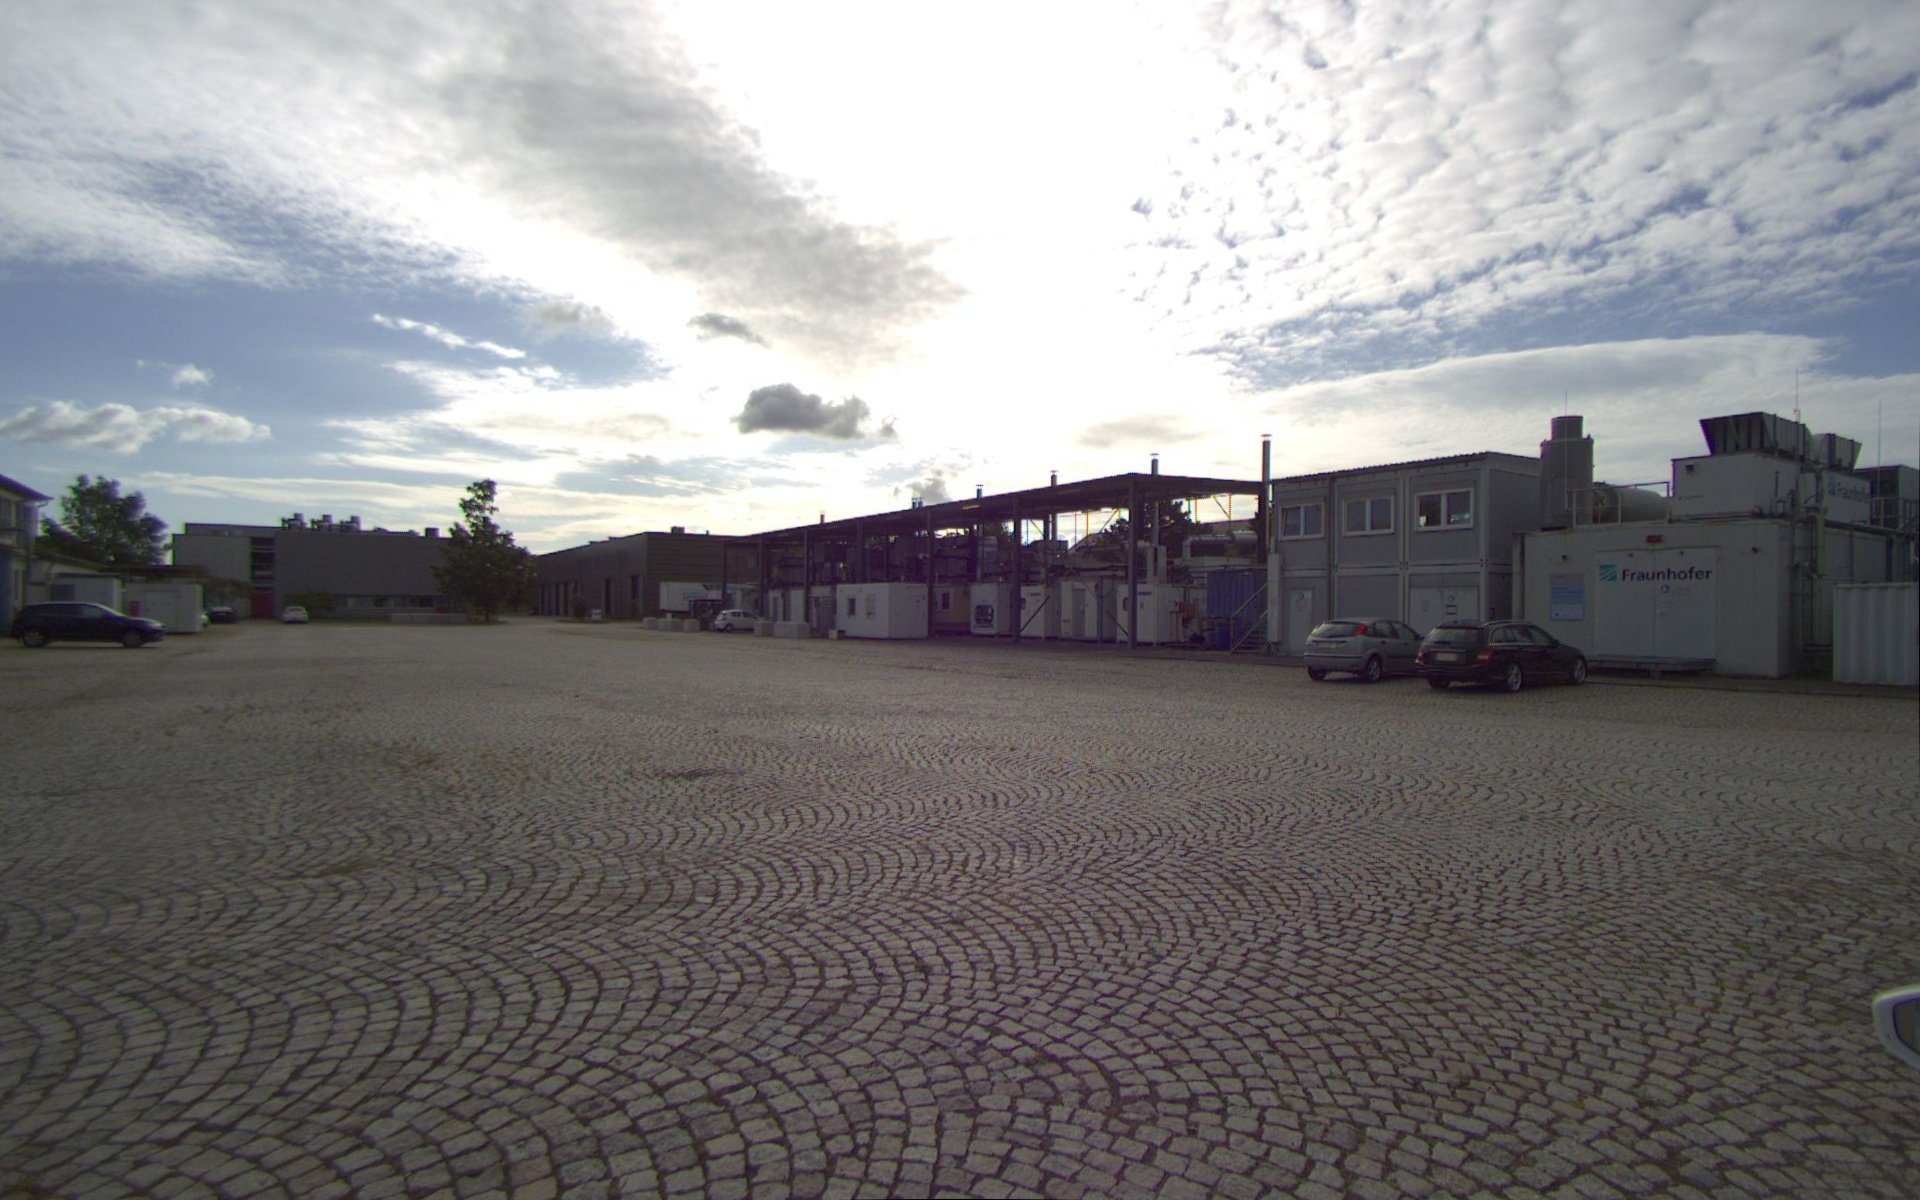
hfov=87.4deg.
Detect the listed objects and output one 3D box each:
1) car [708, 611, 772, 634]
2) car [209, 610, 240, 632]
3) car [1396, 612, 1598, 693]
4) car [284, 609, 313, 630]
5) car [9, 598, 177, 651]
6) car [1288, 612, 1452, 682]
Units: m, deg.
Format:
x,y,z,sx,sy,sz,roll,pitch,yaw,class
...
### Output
x,y,z,sx,sy,sz,roll,pitch,yaw,class
-15.296,1.558,69.867,3.960,1.512,1.980,1,-1,-35,car
-63.093,1.757,86.253,1.979,1.834,3.962,1,-1,-34,car
11.641,1.043,21.696,4.482,1.472,2.024,-1,0,-34,car
-59.036,1.692,89.605,2.132,1.834,3.962,1,-1,-34,car
-31.386,0.909,36.576,4.391,1.779,1.981,1,-3,-35,car
10.037,1.080,24.499,4.007,1.495,1.893,-1,0,-36,car
